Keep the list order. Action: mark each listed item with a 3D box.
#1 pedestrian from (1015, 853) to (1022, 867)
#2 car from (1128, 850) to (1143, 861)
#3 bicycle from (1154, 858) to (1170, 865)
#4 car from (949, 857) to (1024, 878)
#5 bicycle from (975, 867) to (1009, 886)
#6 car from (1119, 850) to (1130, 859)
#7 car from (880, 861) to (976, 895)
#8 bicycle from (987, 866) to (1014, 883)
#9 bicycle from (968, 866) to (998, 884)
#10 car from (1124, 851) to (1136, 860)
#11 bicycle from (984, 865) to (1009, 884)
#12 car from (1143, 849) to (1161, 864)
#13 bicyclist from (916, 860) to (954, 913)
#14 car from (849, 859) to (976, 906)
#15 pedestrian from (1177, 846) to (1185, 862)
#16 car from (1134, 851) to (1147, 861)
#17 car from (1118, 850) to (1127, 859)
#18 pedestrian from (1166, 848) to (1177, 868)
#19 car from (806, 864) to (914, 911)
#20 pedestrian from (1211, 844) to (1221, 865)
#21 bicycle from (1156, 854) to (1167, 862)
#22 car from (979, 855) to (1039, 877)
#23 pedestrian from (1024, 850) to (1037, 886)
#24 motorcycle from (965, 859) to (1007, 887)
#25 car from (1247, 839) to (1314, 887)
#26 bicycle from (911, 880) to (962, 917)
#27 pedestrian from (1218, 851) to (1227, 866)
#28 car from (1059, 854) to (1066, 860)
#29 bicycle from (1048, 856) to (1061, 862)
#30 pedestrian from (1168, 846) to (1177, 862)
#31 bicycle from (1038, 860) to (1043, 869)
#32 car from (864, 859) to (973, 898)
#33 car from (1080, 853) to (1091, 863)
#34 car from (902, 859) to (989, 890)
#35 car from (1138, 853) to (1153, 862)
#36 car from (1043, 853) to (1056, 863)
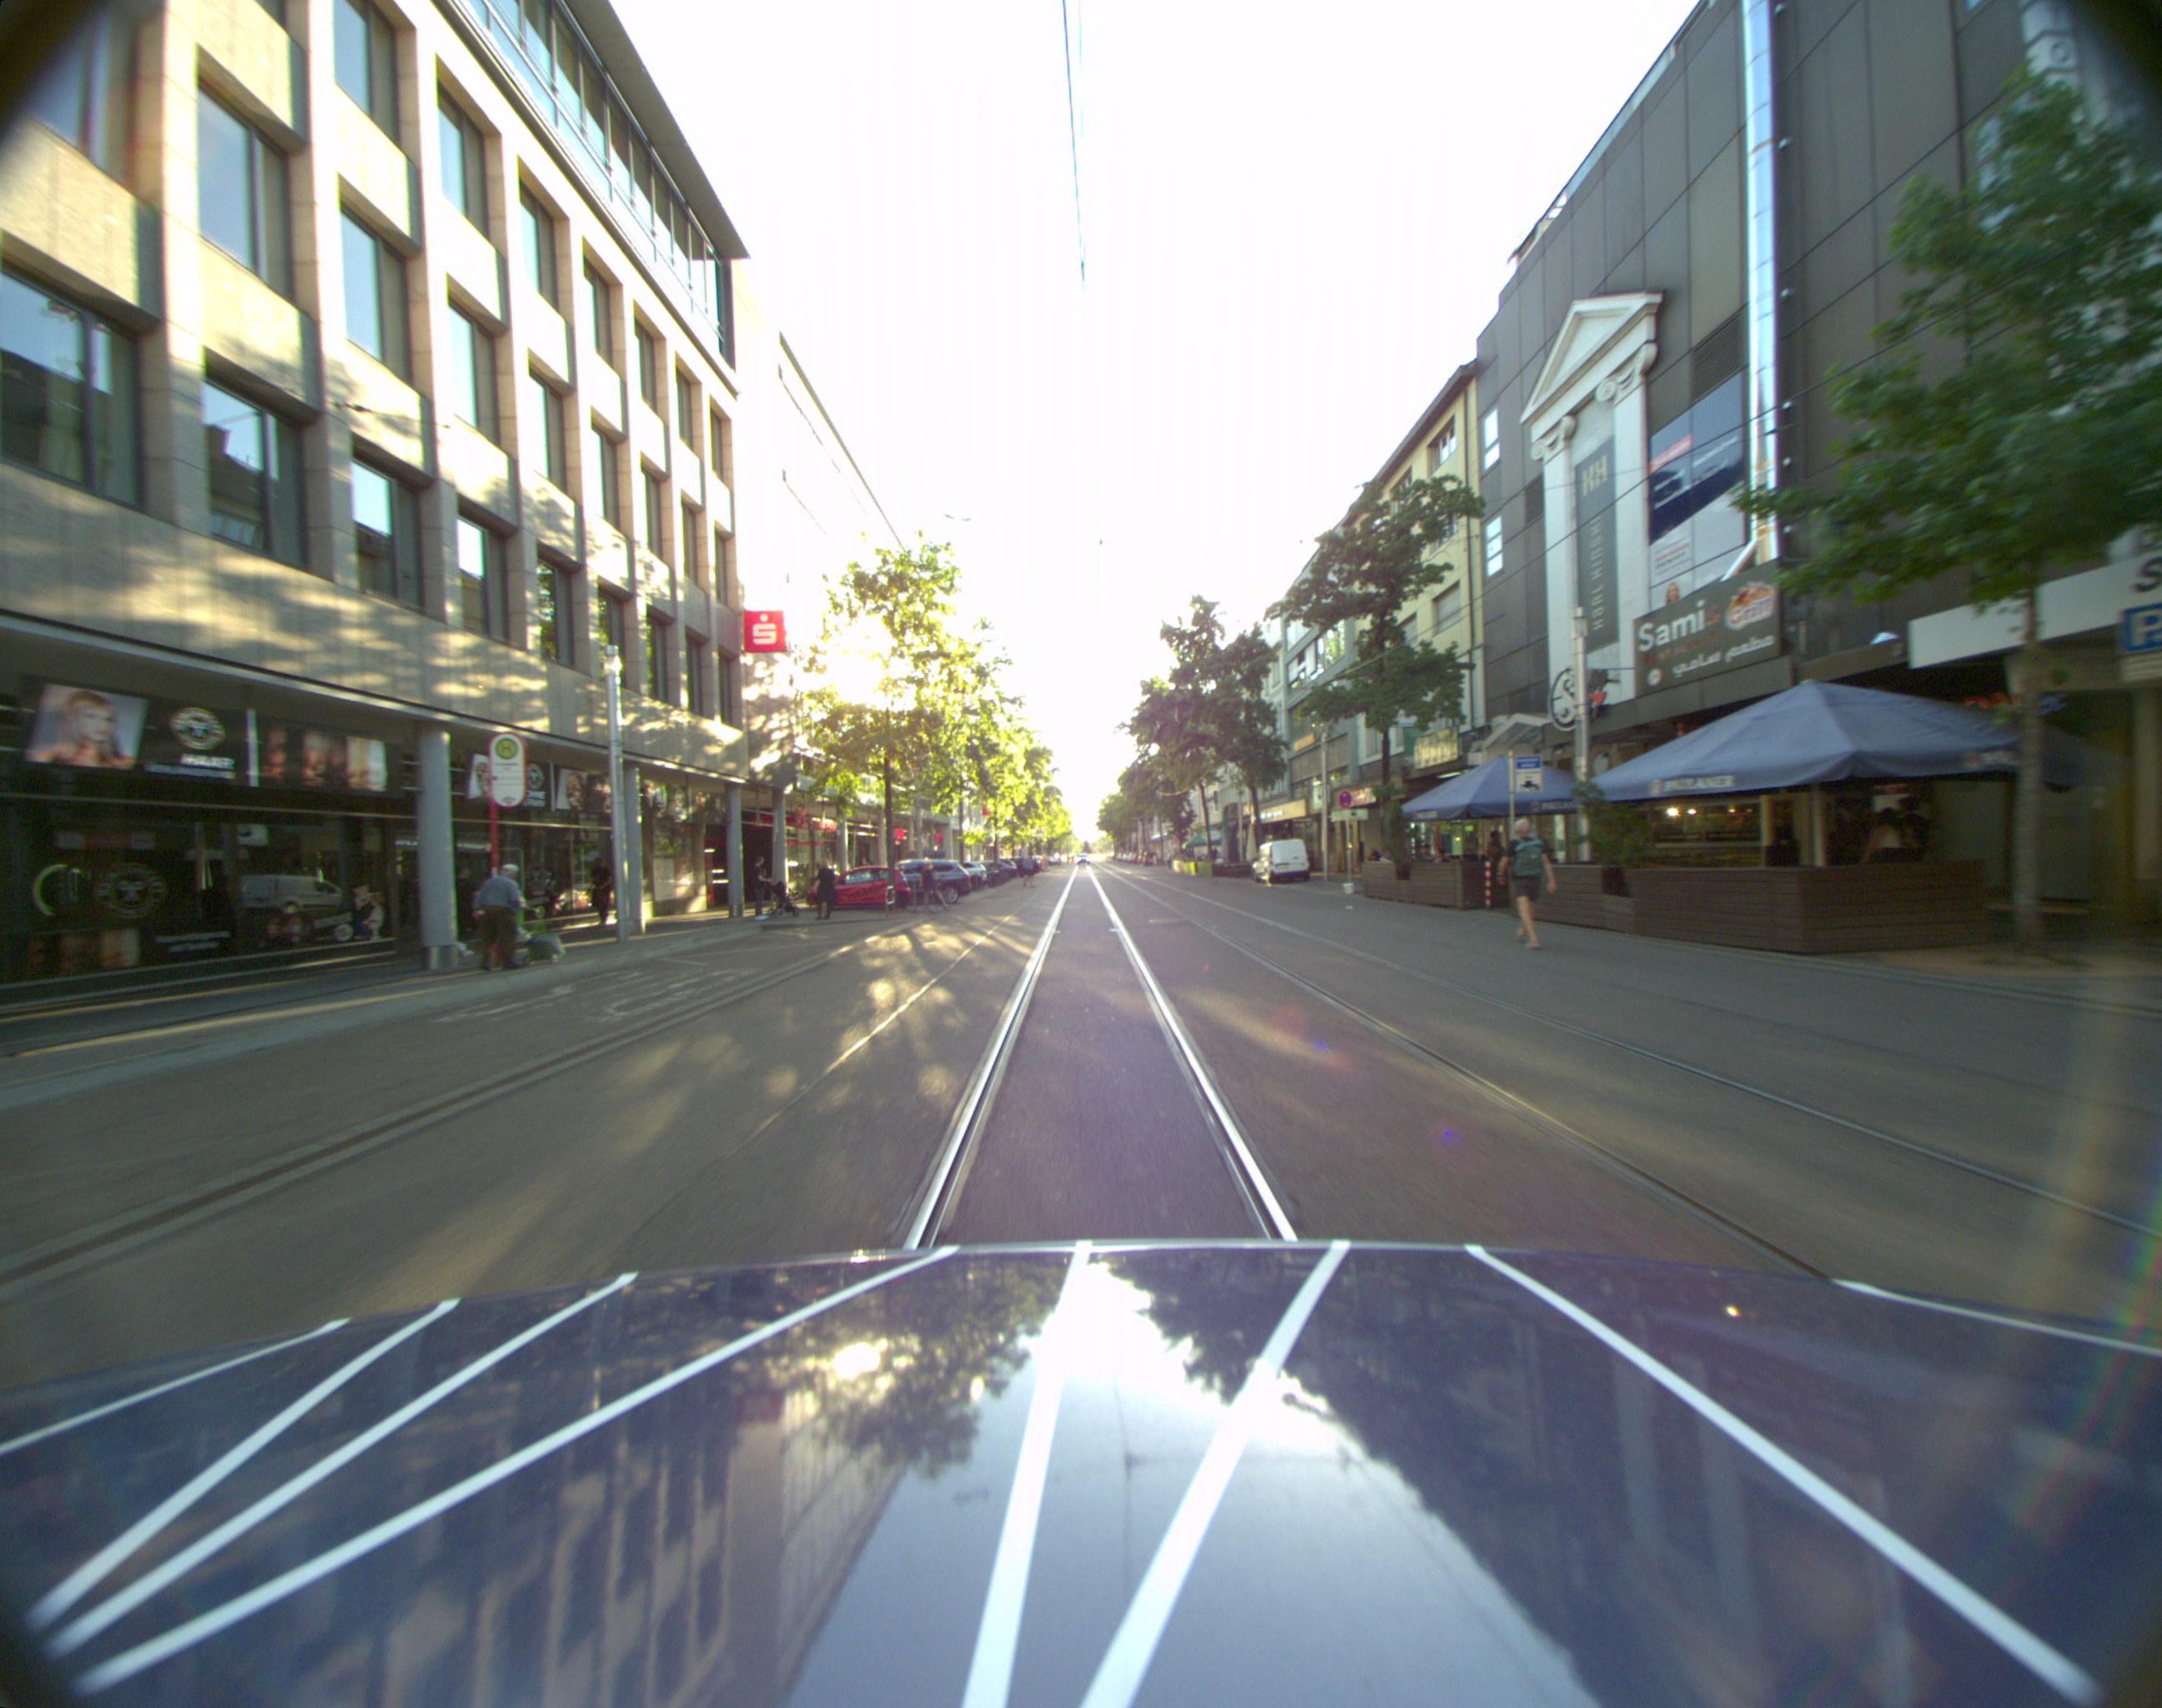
[{"bbox_3d":[-8.569,0.878,104.364,0.835,1.886,0.918,-1,1,3],"label":"pedestrian"},{"bbox_3d":[9.174,0.256,128.311,1.870,1.679,4.950,-5,0,-3],"label":"car"},{"bbox_3d":[9.364,0.873,87.721,1.799,0.605,1.282,-3,0,4],"label":"bicycle"},{"bbox_3d":[-6.816,0.991,55.055,5.071,1.460,1.972,1,0,-35],"label":"car"},{"bbox_3d":[-5.256,1.323,45.062,1.899,1.113,0.666,0,1,-29],"label":"bicycle"},{"bbox_3d":[9.562,0.172,166.102,1.952,1.731,4.765,-5,0,0],"label":"car"},{"bbox_3d":[-7.178,1.088,35.609,4.165,1.490,1.685,0,0,-23],"label":"car"},{"bbox_3d":[-5.225,1.302,49.360,1.566,1.082,0.867,1,-1,-30],"label":"bicycle"},{"bbox_3d":[-6.123,1.315,47.374,1.697,1.099,0.631,1,1,-26],"label":"bicycle"},{"bbox_3d":[9.443,0.298,146.741,1.897,1.458,4.616,-5,0,1],"label":"car"},{"bbox_3d":[-5.235,1.281,47.084,0.480,1.157,1.698,2,1,40],"label":"bicycle"},{"bbox_3d":[8.979,0.330,96.257,1.862,1.821,4.559,-3,0,2],"label":"car"},{"bbox_3d":[-4.659,1.039,24.266,0.778,1.603,0.913,-4,0,14],"label":"bicyclist"},{"bbox_3d":[-6.334,1.018,28.644,4.364,1.642,1.690,0,0,-31],"label":"car"},{"bbox_3d":[11.640,0.046,88.386,0.721,1.802,0.876,-5,1,0],"label":"pedestrian"},{"bbox_3d":[9.254,0.359,118.758,1.664,1.397,4.141,-5,0,1],"label":"car"},{"bbox_3d":[9.810,0.073,180.975,1.932,1.946,4.765,-1,0,0],"label":"car"},{"bbox_3d":[8.397,0.383,70.560,0.758,1.781,0.687,-4,1,1],"label":"pedestrian"},{"bbox_3d":[-7.477,1.093,25.657,3.402,1.472,1.664,0,0,-19],"label":"car"},{"bbox_3d":[12.277,0.031,69.102,0.685,1.805,0.765,-4,1,16],"label":"pedestrian"},{"bbox_3d":[10.915,0.533,102.969,0.760,1.115,2.045,-5,1,-11],"label":"bicycle"},{"bbox_3d":[-6.132,1.019,64.745,4.674,1.753,1.990,1,0,-29],"label":"car"},{"bbox_3d":[-2.683,0.738,40.427,0.584,1.907,0.663,0,1,2],"label":"pedestrian"},{"bbox_3d":[-5.408,1.073,43.567,2.324,1.501,0.856,0,1,-43],"label":"motorcycle"},{"bbox_3d":[8.901,0.370,34.244,1.800,1.854,4.553,-5,0,1],"label":"car"},{"bbox_3d":[-4.581,1.398,24.190,0.719,0.989,2.061,-4,0,14],"label":"bicycle"},{"bbox_3d":[12.530,0.366,67.400,0.628,1.274,0.727,-4,1,1],"label":"pedestrian"},{"bbox_3d":[-4.663,0.750,188.599,1.564,1.391,3.697,1,0,0],"label":"car"},{"bbox_3d":[-5.064,0.946,143.972,2.325,1.181,0.751,-2,0,2],"label":"bicycle"},{"bbox_3d":[10.716,-0.038,88.850,0.867,1.771,0.884,-5,1,0],"label":"pedestrian"},{"bbox_3d":[-4.714,1.244,88.459,0.494,0.976,1.930,-2,0,-2],"label":"bicycle"},{"bbox_3d":[-7.084,1.015,33.229,4.256,1.578,1.880,0,0,-31],"label":"car"},{"bbox_3d":[0.754,0.662,123.558,1.827,1.603,3.796,-2,0,1],"label":"car"},{"bbox_3d":[-7.157,1.043,40.197,4.167,1.562,1.849,0,0,-33],"label":"car"},{"bbox_3d":[9.322,0.503,109.737,1.722,1.238,4.507,-5,0,0],"label":"car"},{"bbox_3d":[-5.354,0.654,129.606,1.985,1.679,4.873,1,0,0],"label":"car"}]
